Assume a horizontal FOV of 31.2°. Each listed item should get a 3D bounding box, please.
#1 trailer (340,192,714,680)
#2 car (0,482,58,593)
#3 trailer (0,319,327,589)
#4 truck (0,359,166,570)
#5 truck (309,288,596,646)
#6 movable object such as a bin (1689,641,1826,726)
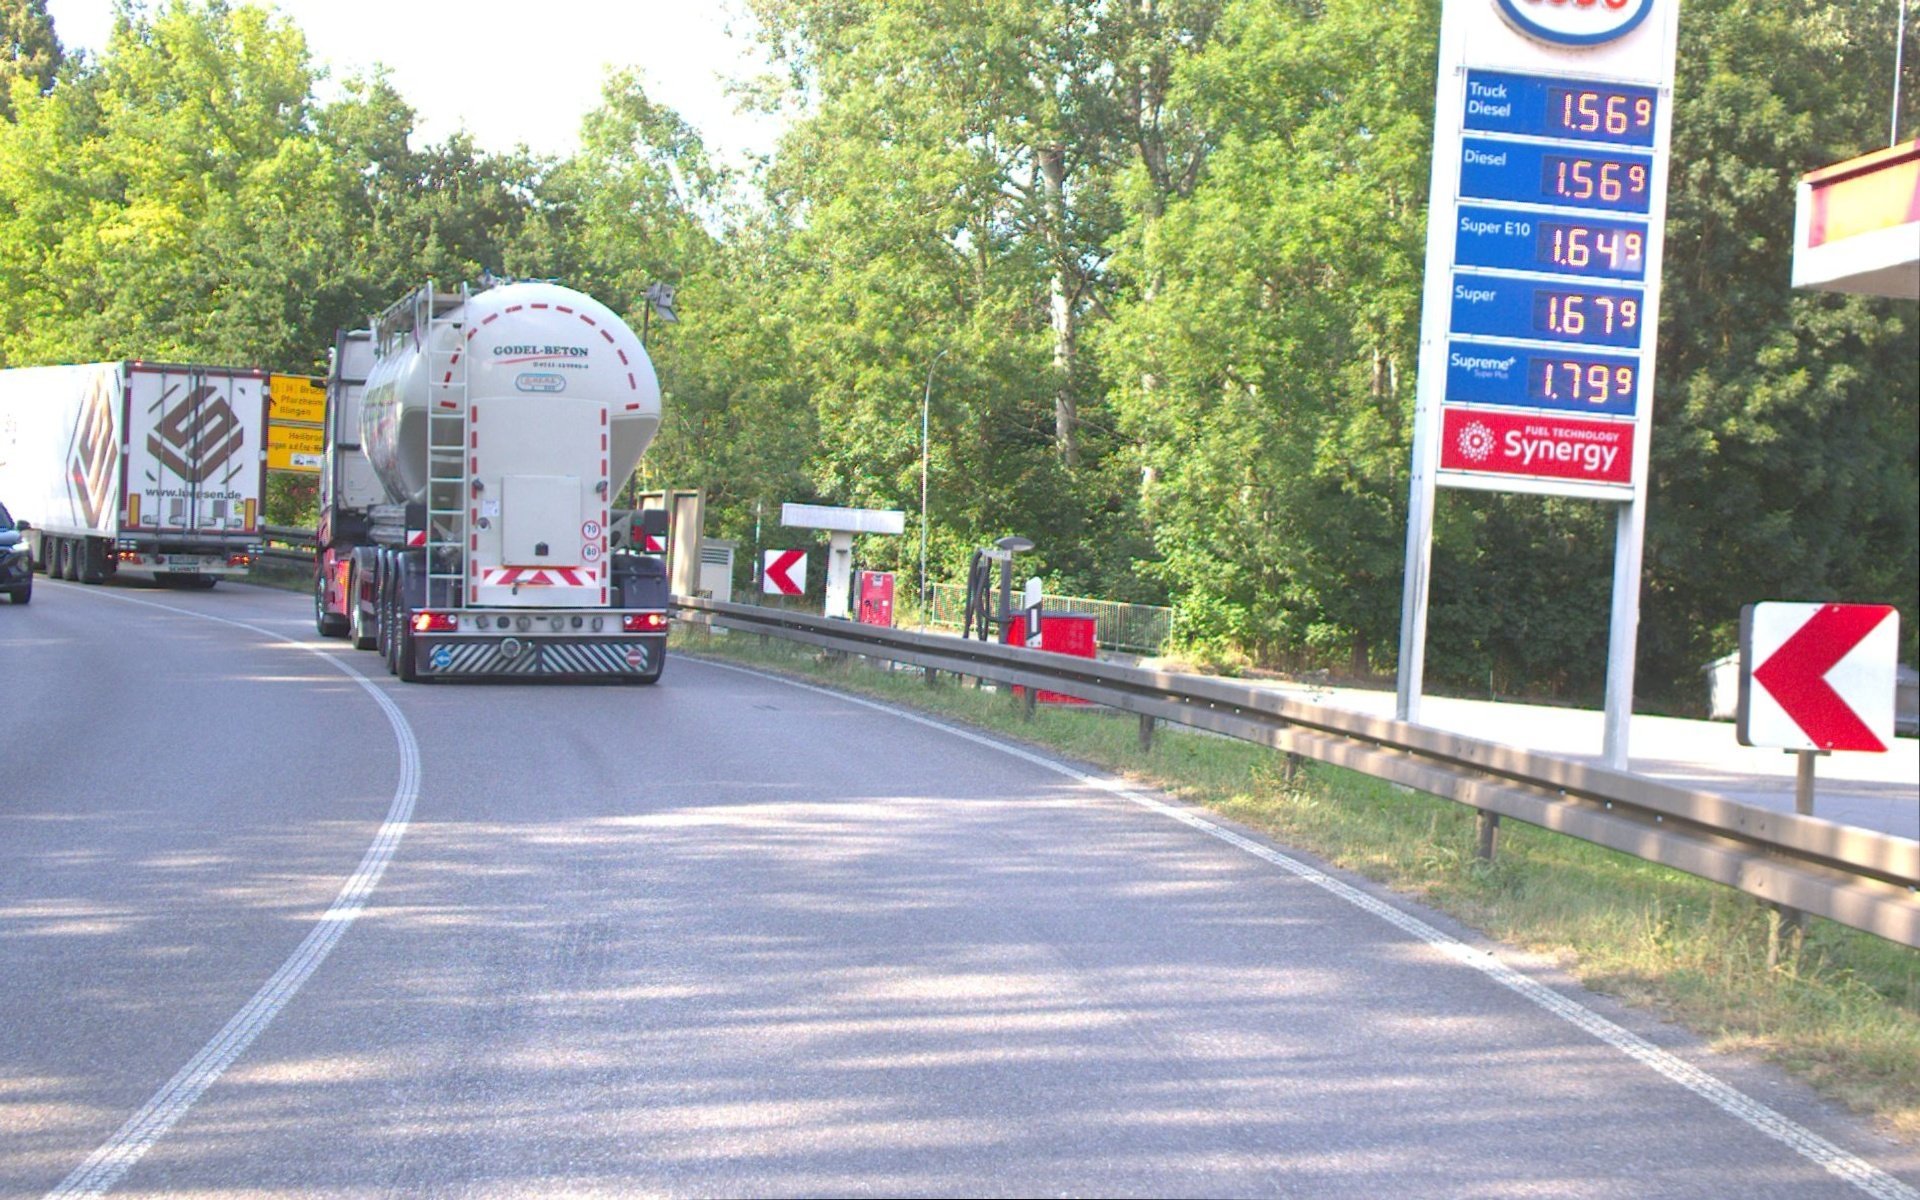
[{"bbox_3d":[-4.856,-1.629,36.640,2.886,4.439,9.609,1,1,-13],"label":"trailer"},{"bbox_3d":[-15.373,-1.012,53.246,1.867,1.647,4.550,0,2,-26],"label":"car"},{"bbox_3d":[-15.900,-2.766,65.817,3.545,4.497,12.987,3,1,-28],"label":"trailer"},{"bbox_3d":[-19.339,-2.836,72.359,3.449,4.072,6.492,3,1,-27],"label":"truck"},{"bbox_3d":[-6.343,-1.588,42.240,2.823,4.021,5.896,1,1,-14],"label":"truck"},{"bbox_3d":[15.744,1.637,67.937,1.265,1.415,2.558,6,0,-22],"label":"movable object such as a bin"}]
